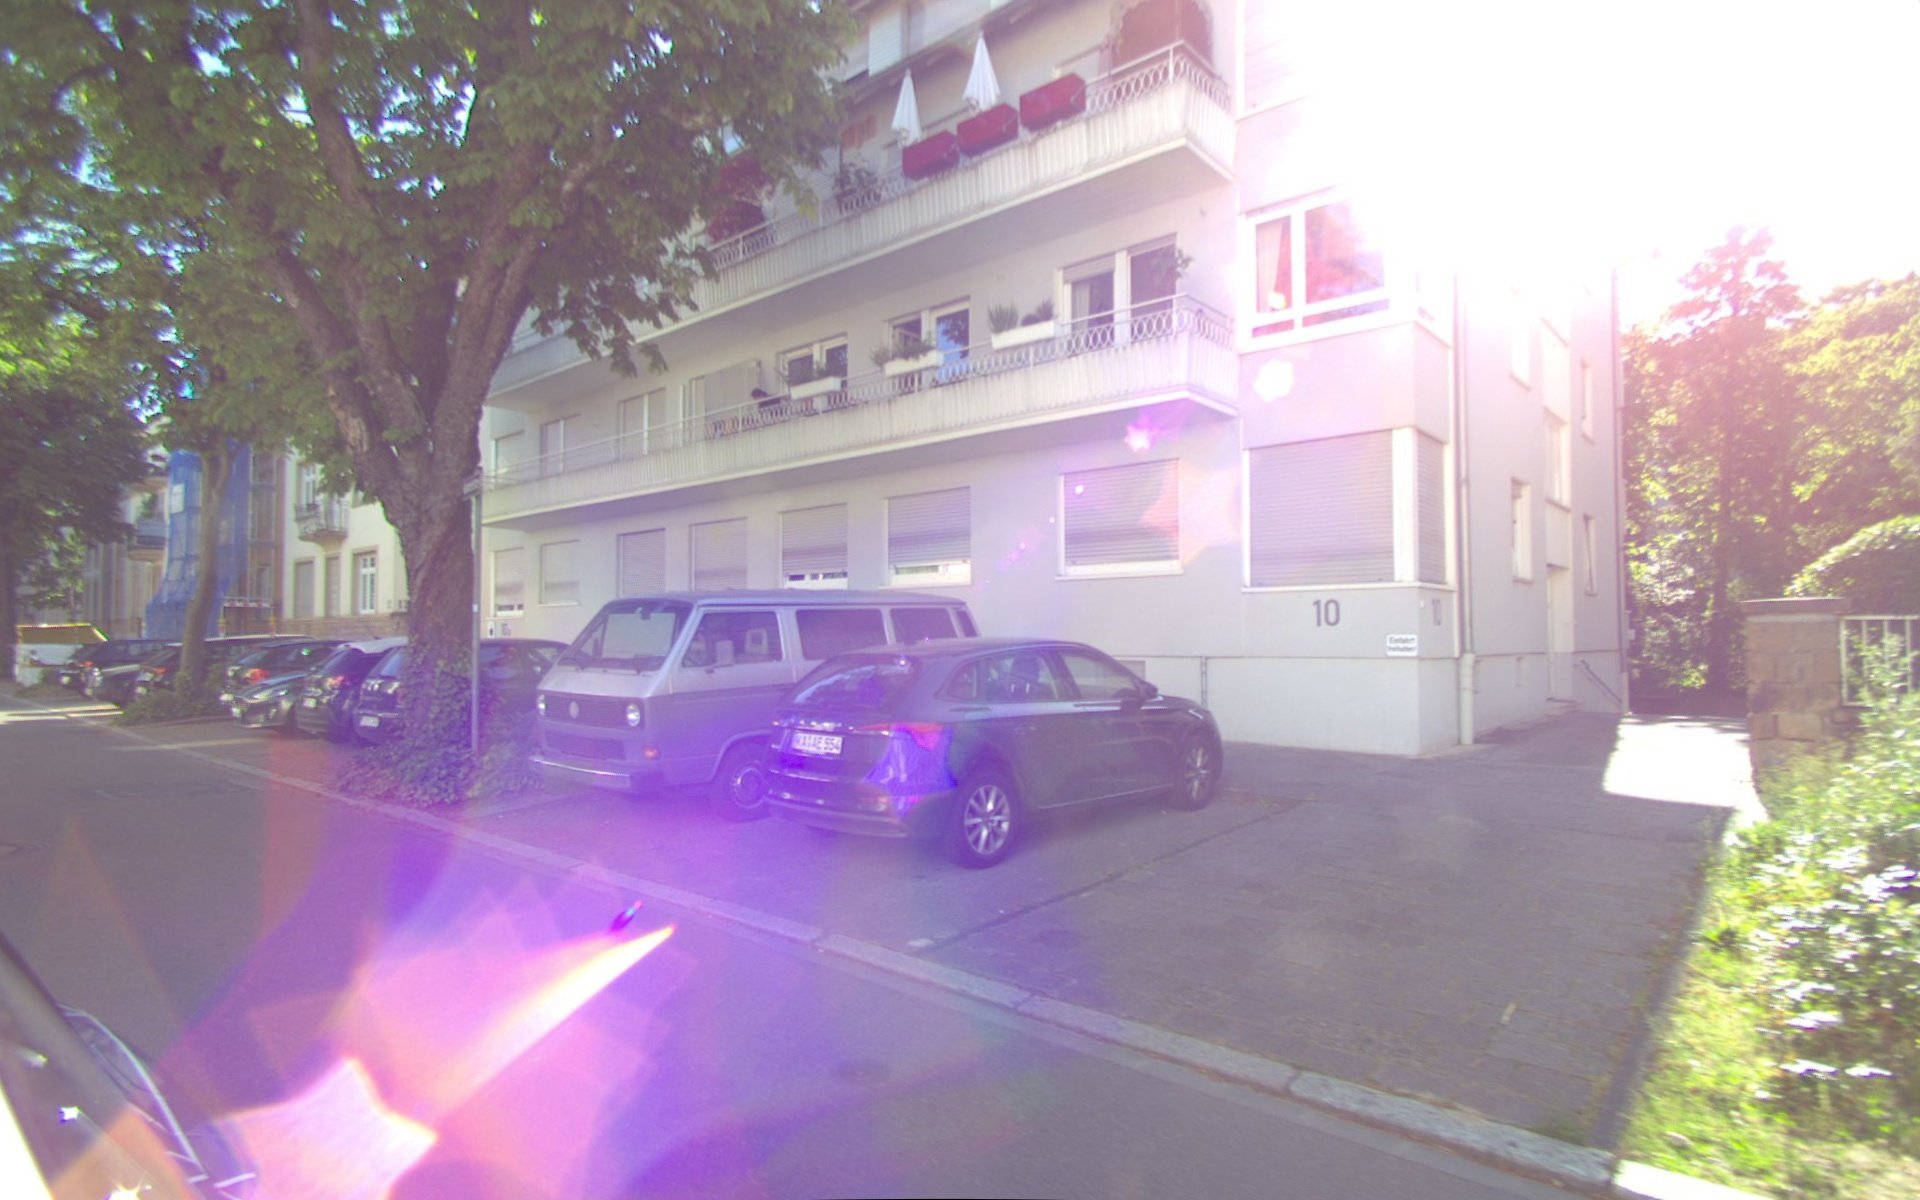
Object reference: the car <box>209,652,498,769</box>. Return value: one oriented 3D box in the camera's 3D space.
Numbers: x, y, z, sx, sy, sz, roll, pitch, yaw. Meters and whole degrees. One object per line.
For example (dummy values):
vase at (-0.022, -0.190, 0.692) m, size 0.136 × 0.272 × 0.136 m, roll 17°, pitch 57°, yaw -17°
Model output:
car at (-9.524, 1.647, 16.066) m, size 1.710 × 1.474 × 3.604 m, roll -2°, pitch -1°, yaw 43°

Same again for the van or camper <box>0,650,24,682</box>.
van or camper at (-54.859, 3.703, 56.277) m, size 1.808 × 1.787 × 3.903 m, roll -4°, pitch -4°, yaw 40°

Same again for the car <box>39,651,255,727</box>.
car at (-20.250, 2.142, 25.367) m, size 1.827 × 1.525 × 3.841 m, roll -2°, pitch 0°, yaw 32°

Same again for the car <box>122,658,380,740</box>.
car at (-14.798, 1.998, 21.319) m, size 1.711 × 1.452 × 4.145 m, roll -2°, pitch -3°, yaw 40°

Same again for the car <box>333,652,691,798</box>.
car at (-5.617, 1.474, 13.068) m, size 1.713 × 1.425 × 3.883 m, roll -3°, pitch -2°, yaw 39°

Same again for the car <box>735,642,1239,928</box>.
car at (0.413, 1.125, 7.689) m, size 1.662 × 1.510 × 3.902 m, roll -3°, pitch -2°, yaw 43°

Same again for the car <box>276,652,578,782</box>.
car at (-7.551, 1.551, 14.528) m, size 1.797 × 1.469 × 3.441 m, roll -2°, pitch -1°, yaw 42°

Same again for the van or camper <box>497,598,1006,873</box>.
van or camper at (-1.679, 1.036, 9.501) m, size 1.962 × 1.929 × 4.452 m, roll -2°, pitch -3°, yaw 39°

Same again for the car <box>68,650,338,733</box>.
car at (-16.900, 1.965, 22.803) m, size 1.831 × 1.619 × 4.544 m, roll -2°, pitch -3°, yaw 38°

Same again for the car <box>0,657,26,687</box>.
car at (-48.455, 3.572, 49.387) m, size 1.709 × 1.411 × 4.097 m, roll -3°, pitch -3°, yaw 40°

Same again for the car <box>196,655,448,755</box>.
car at (-11.260, 1.775, 18.036) m, size 1.707 × 1.431 × 3.447 m, roll -1°, pitch -1°, yaw 36°

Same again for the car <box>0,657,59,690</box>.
car at (-44.598, 3.420, 47.148) m, size 1.714 × 1.476 × 3.686 m, roll -4°, pitch -5°, yaw 42°
